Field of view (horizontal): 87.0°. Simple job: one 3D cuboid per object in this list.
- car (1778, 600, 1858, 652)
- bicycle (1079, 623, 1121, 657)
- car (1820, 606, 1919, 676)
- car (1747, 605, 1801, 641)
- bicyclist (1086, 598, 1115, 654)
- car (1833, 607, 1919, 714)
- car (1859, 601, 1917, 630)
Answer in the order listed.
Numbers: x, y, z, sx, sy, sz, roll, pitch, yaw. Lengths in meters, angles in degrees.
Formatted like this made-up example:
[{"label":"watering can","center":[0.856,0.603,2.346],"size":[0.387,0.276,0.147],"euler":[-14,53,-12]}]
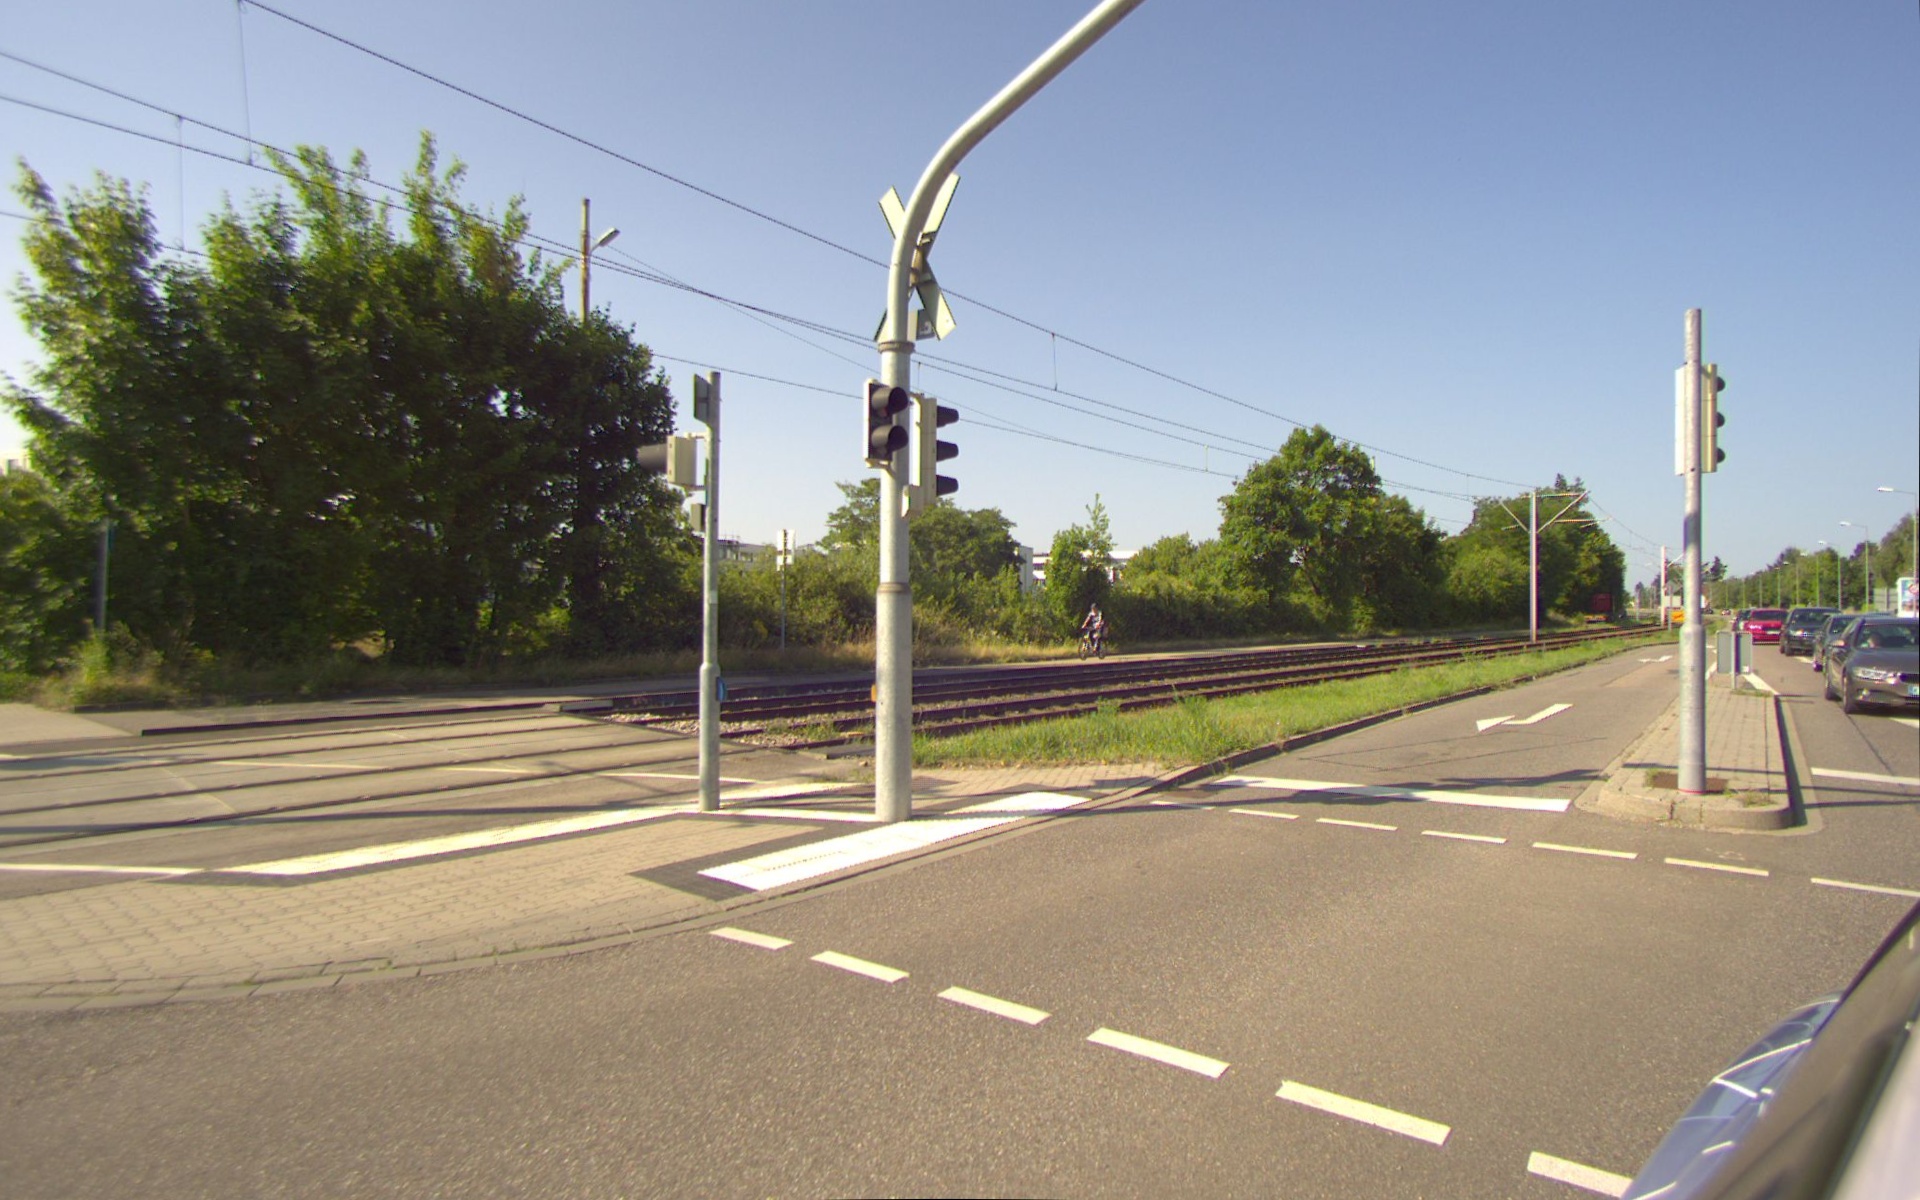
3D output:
[{"label":"car","center":[29.104,0.845,34.434],"size":[1.812,1.672,4.548],"euler":[-2,-1,37]},{"label":"bicycle","center":[4.691,1.311,33.741],"size":[0.544,1.060,1.847],"euler":[0,-1,38]},{"label":"car","center":[21.952,0.912,24.250],"size":[1.812,1.508,4.548],"euler":[0,0,37]},{"label":"car","center":[36.498,0.998,45.439],"size":[1.798,1.526,4.139],"euler":[0,0,38]},{"label":"bicyclist","center":[4.669,0.848,33.727],"size":[0.705,1.831,0.707],"euler":[0,-1,39]},{"label":"car","center":[14.744,0.858,15.507],"size":[1.812,1.442,4.400],"euler":[1,0,38]},{"label":"car","center":[50.279,0.806,54.897],"size":[1.696,1.484,4.316],"euler":[0,0,34]}]
